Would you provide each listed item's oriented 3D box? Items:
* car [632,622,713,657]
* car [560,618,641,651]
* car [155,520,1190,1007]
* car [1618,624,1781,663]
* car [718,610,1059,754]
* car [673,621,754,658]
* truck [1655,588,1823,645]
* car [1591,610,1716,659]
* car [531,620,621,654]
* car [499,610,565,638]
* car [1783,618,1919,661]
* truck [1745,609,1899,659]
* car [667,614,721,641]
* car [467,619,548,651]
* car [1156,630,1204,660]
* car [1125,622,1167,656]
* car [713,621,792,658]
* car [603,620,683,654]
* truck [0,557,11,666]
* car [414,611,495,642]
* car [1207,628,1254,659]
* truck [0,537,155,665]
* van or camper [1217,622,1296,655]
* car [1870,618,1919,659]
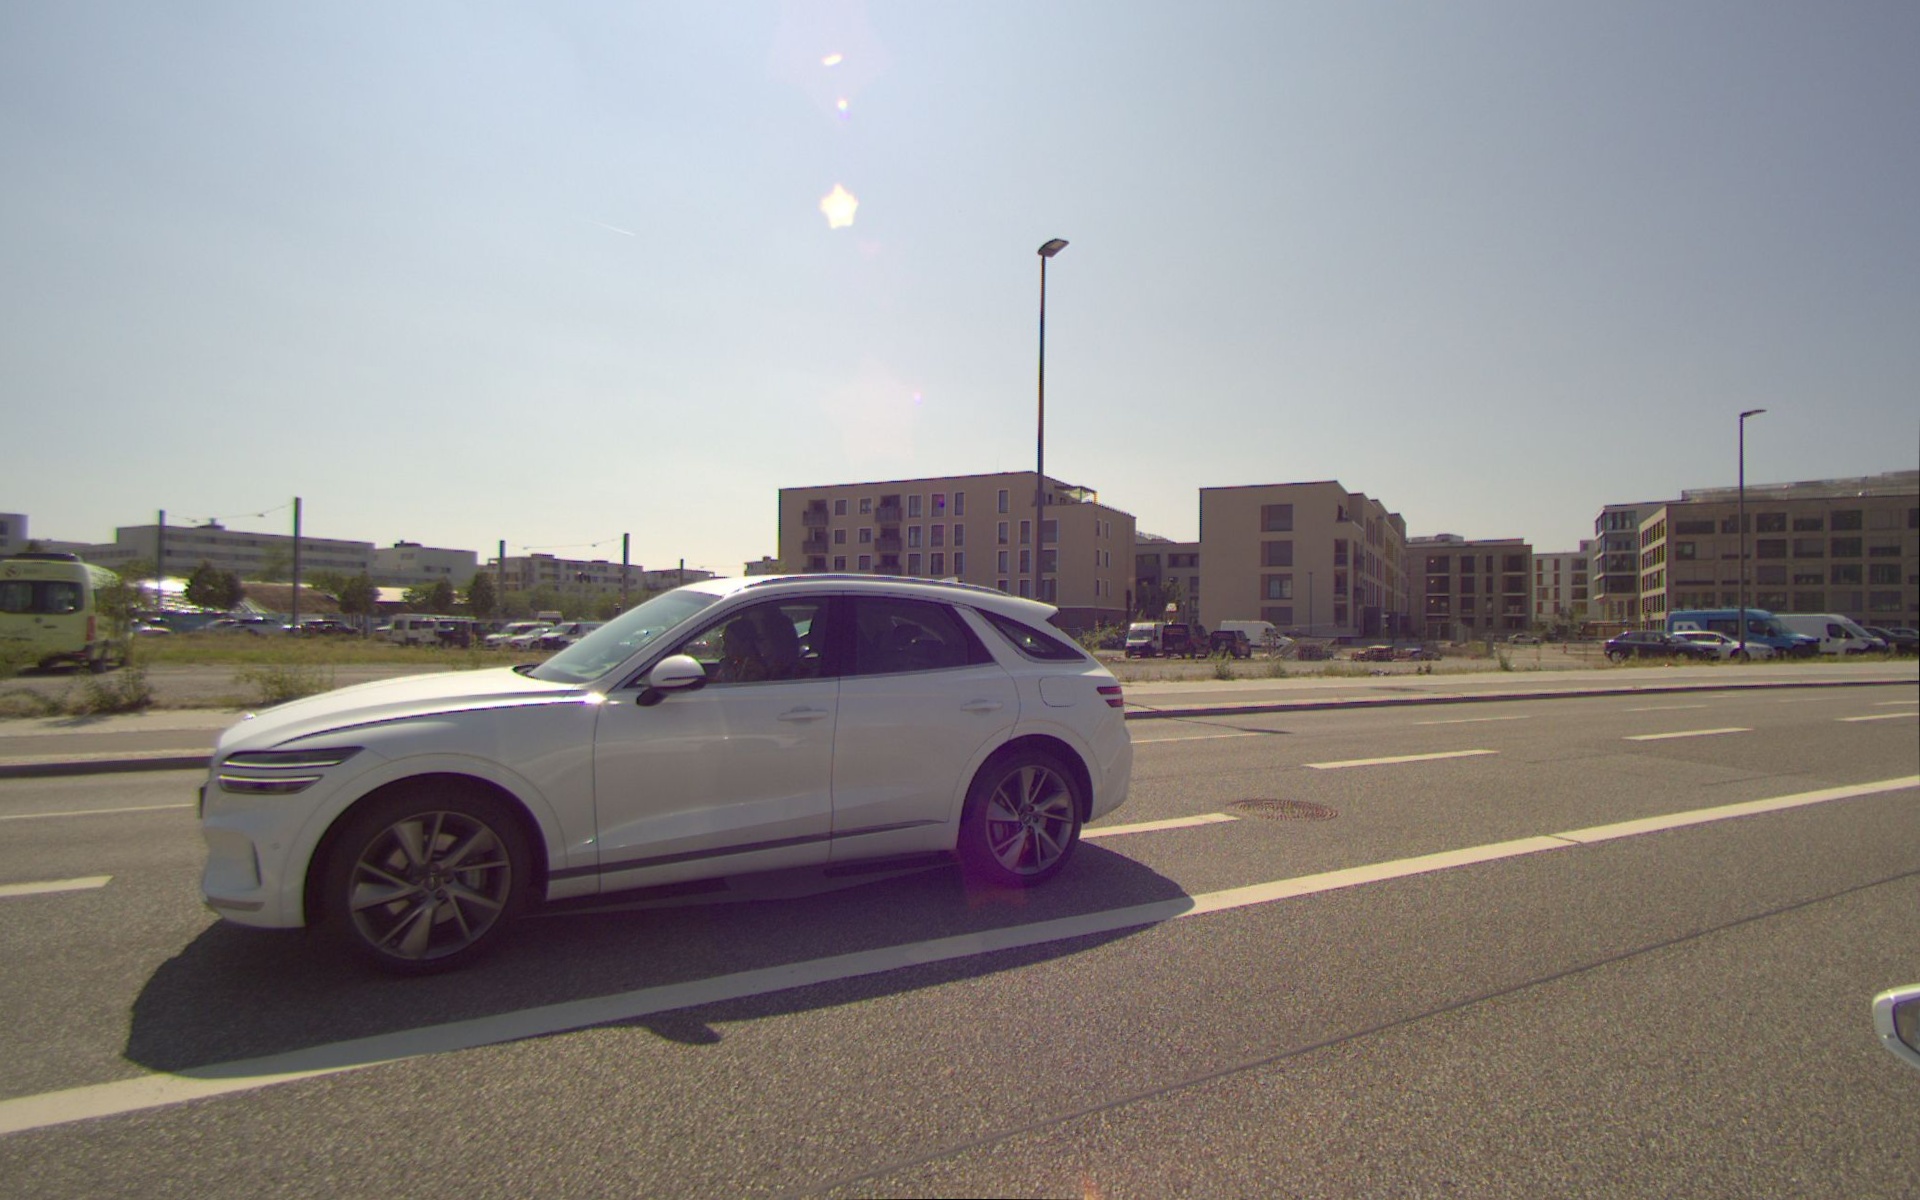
[{"bbox_3d":[-17.143,2.324,60.092,1.963,1.996,4.648,-1,-2,28],"label":"car"},{"bbox_3d":[-22.346,2.159,62.645,1.963,1.996,4.648,-1,-2,28],"label":"car"},{"bbox_3d":[-1.177,0.612,5.448,4.674,1.672,1.904,2,0,-30],"label":"car"},{"bbox_3d":[33.667,1.945,45.935,2.083,1.494,5.621,1,0,-31],"label":"car"},{"bbox_3d":[-0.840,0.927,11.941,3.556,1.433,1.885,3,-1,-30],"label":"car"},{"bbox_3d":[-14.341,2.282,58.693,1.963,2.040,4.648,-1,-2,28],"label":"car"},{"bbox_3d":[37.174,0.846,48.118,2.251,2.577,5.970,1,-2,-33],"label":"truck"},{"bbox_3d":[28.663,1.434,41.653,1.801,1.929,3.980,1,-2,-22],"label":"car"},{"bbox_3d":[-24.395,2.283,64.055,1.963,1.996,5.389,2,0,28],"label":"car"},{"bbox_3d":[-32.177,1.839,75.646,1.805,1.996,4.476,-1,-2,28],"label":"car"},{"bbox_3d":[48.825,2.080,54.630,2.368,2.194,5.852,0,-1,-31],"label":"car"},{"bbox_3d":[43.709,1.739,51.095,2.249,2.394,5.540,1,-2,-30],"label":"truck"},{"bbox_3d":[-20.822,2.143,78.875,1.963,2.040,3.996,-1,-2,26],"label":"car"},{"bbox_3d":[-29.905,2.268,66.519,1.963,1.996,4.647,2,0,28],"label":"car"},{"bbox_3d":[14.789,3.000,67.456,1.965,1.873,3.991,1,0,31],"label":"car"},{"bbox_3d":[13.180,2.691,71.074,1.962,2.270,3.996,1,0,25],"label":"car"},{"bbox_3d":[-11.843,2.239,57.652,1.963,2.040,4.648,-1,-2,28],"label":"car"},{"bbox_3d":[-19.531,2.276,62.032,1.963,1.996,4.648,-1,-2,28],"label":"car"},{"bbox_3d":[-25.287,0.287,23.788,2.539,2.862,5.811,3,0,-28],"label":"truck"},{"bbox_3d":[-34.647,1.790,68.990,1.963,1.996,4.647,2,0,28],"label":"car"},{"bbox_3d":[17.773,2.821,65.925,1.965,1.873,3.991,1,0,31],"label":"car"},{"bbox_3d":[-22.665,0.030,25.592,2.575,2.863,6.598,1,0,-33],"label":"truck"},{"bbox_3d":[23.388,3.026,79.379,5.815,2.592,1.935,0,-2,23],"label":"van or camper"},{"bbox_3d":[52.058,2.040,53.092,2.369,2.202,5.413,1,-2,-32],"label":"car"}]
